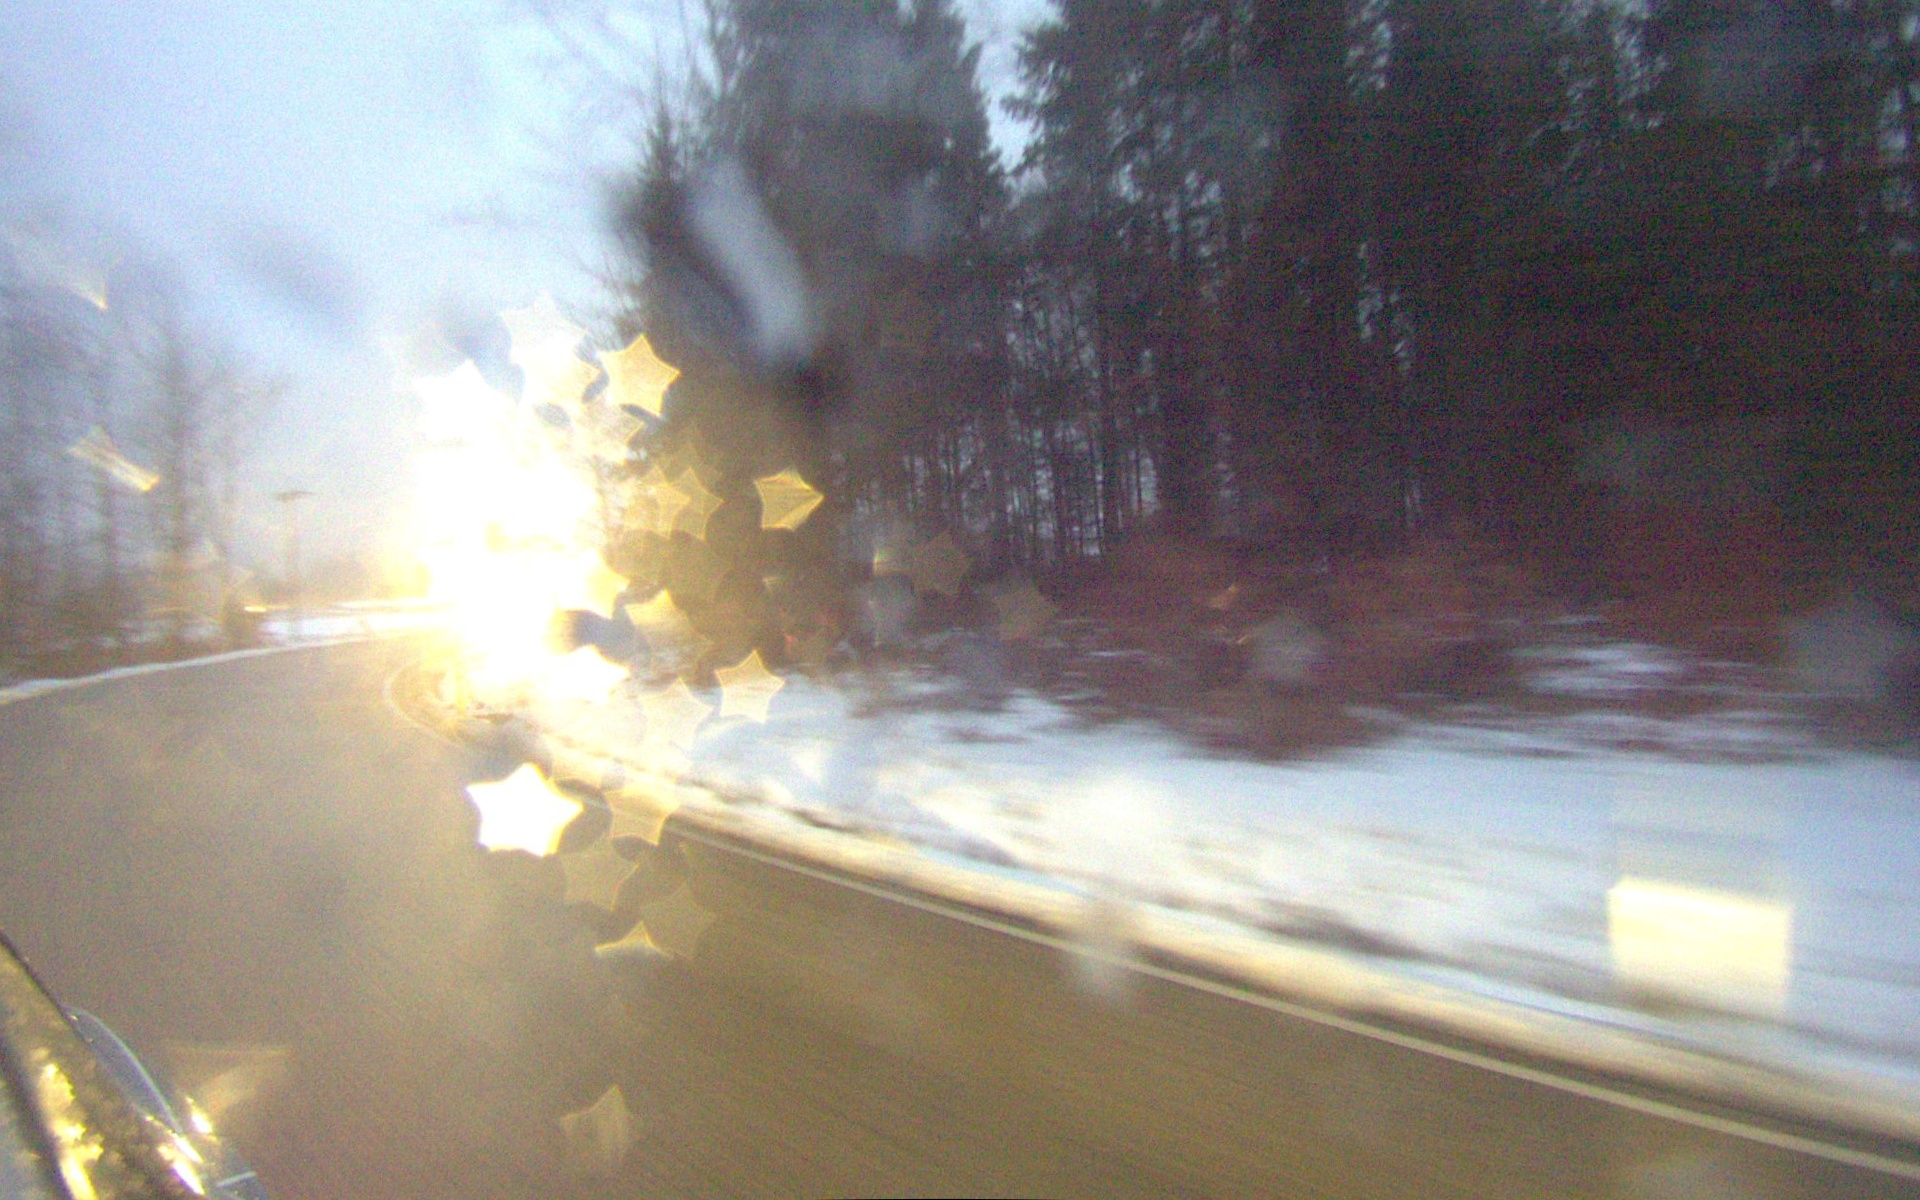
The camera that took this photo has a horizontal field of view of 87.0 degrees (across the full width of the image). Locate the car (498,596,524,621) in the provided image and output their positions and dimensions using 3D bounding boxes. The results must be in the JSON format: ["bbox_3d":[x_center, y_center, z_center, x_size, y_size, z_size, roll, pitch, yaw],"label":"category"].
[{"bbox_3d":[-42.428,0.789,95.642,1.966,2.028,4.014,-6,4,-25],"label":"car"}]
